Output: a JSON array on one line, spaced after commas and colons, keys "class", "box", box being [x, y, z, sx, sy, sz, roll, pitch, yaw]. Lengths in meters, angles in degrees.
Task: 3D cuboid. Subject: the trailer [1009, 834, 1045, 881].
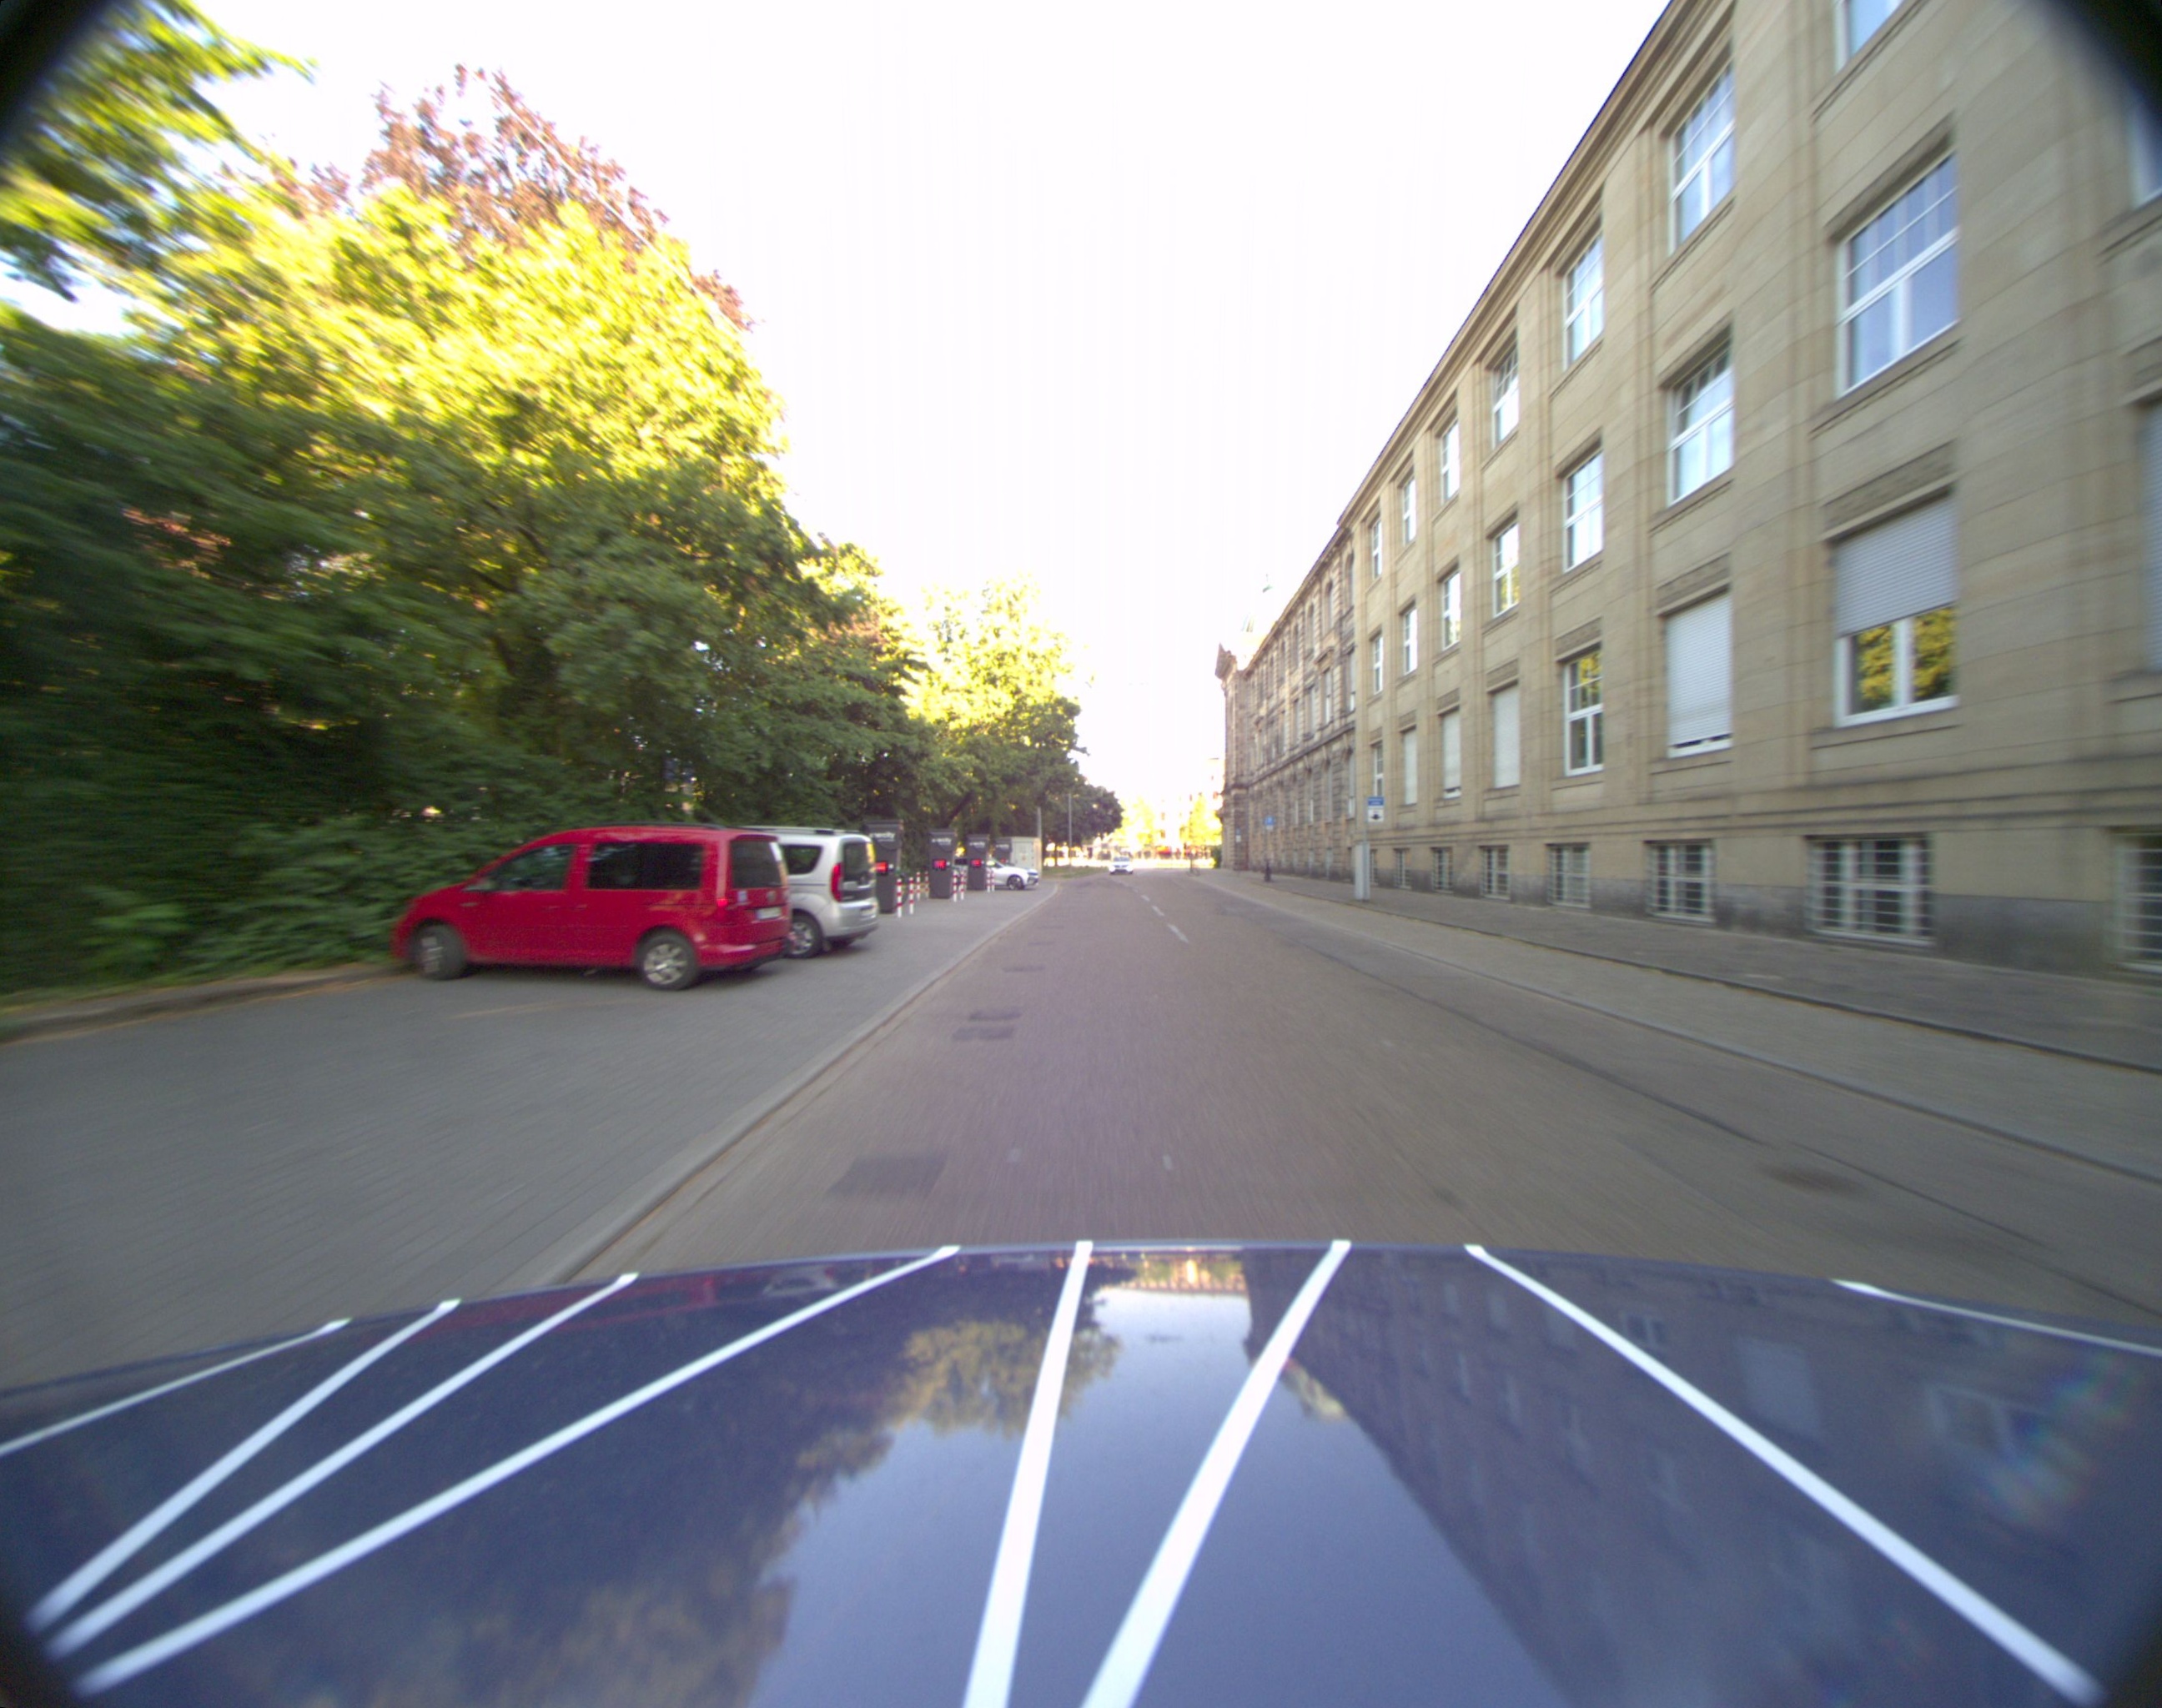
[{"class": "trailer", "box": [-3.085, 0.173, 44.067, 1.600, 2.625, 3.703, 0, 0, 4]}]

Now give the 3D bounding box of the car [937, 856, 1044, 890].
[{"class": "car", "box": [-3.948, 0.804, 33.665, 4.441, 1.458, 1.711, 0, 0, 4]}]

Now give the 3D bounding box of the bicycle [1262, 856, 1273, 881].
[{"class": "bicycle", "box": [9.375, 0.711, 38.232, 0.457, 1.202, 1.879, 0, 0, 12]}]

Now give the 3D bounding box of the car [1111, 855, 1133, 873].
[{"class": "car", "box": [3.489, 0.828, 63.460, 1.687, 1.445, 4.104, 0, 0, 5]}]

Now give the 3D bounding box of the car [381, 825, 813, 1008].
[{"class": "car", "box": [-5.566, 0.647, 9.078, 3.980, 1.852, 1.920, 1, 1, 5]}]

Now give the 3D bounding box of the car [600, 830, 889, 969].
[{"class": "car", "box": [-5.010, 0.627, 11.635, 3.609, 1.873, 1.784, 1, 1, 4]}]
